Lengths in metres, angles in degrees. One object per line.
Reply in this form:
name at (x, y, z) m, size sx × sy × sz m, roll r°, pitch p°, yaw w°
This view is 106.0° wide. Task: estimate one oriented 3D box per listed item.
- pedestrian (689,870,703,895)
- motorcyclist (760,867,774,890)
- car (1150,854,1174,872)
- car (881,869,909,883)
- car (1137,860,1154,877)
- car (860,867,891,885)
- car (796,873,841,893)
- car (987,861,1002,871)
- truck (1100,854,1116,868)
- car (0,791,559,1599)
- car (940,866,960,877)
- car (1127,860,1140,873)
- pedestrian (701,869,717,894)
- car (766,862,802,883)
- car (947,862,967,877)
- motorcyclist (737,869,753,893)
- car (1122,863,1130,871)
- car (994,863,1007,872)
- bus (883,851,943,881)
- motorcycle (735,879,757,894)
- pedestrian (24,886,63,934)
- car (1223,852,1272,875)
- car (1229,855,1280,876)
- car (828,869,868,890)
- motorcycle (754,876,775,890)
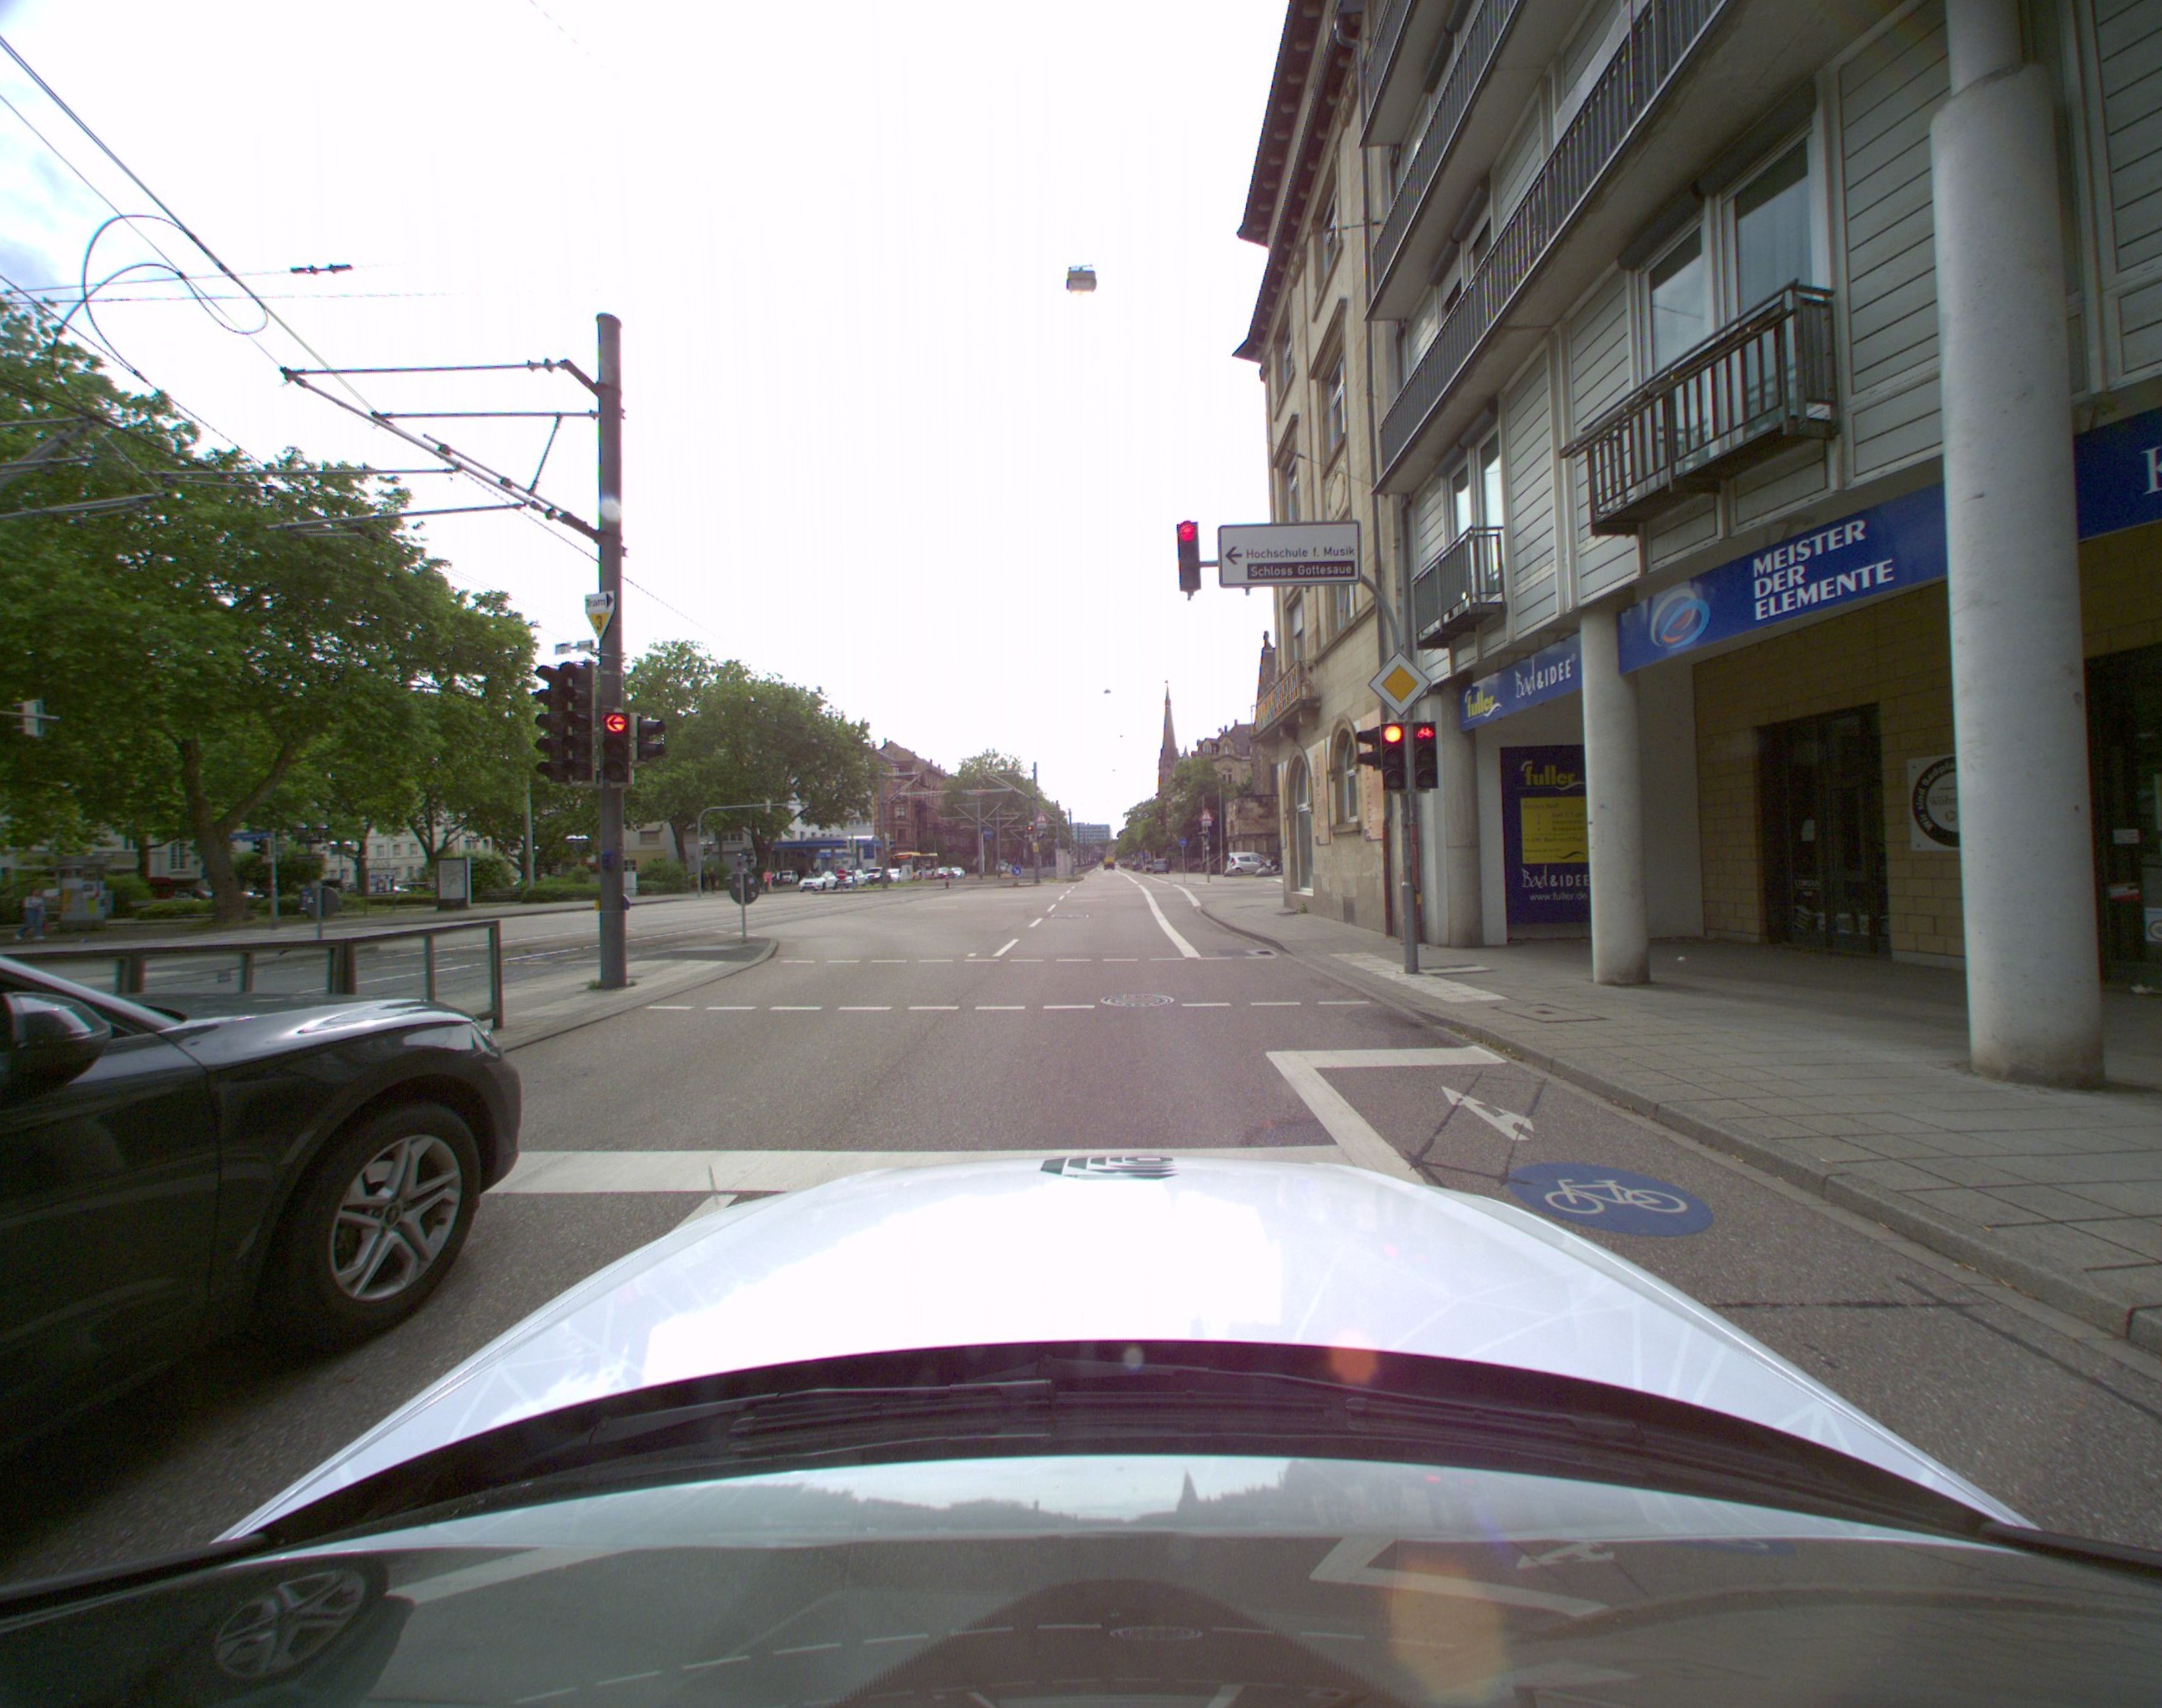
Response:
pedestrian at (-26.508, 1.949, 56.070) m, size 0.690 × 1.713 × 0.865 m, roll -1°, pitch -1°, yaw -17°
motorcyclist at (-21.603, 1.660, 56.052) m, size 0.617 × 1.520 × 0.874 m, roll -2°, pitch -1°, yaw 2°
car at (8.976, 0.995, 89.953) m, size 1.979 × 1.855 × 4.042 m, roll -1°, pitch -1°, yaw 14°
car at (-18.156, 2.110, 79.643) m, size 1.649 × 1.321 × 3.641 m, roll 0°, pitch -1°, yaw 3°
car at (7.884, 1.705, 99.453) m, size 1.985 × 2.014 × 4.004 m, roll 0°, pitch -1°, yaw 4°
car at (-18.328, 1.938, 72.722) m, size 1.649 × 1.478 × 3.641 m, roll 0°, pitch -1°, yaw 3°
car at (-19.163, 2.083, 59.558) m, size 1.739 × 1.321 × 4.079 m, roll 0°, pitch -1°, yaw 4°
car at (-15.047, 2.079, 142.094) m, size 1.986 × 1.610 × 4.001 m, roll 0°, pitch -1°, yaw 2°
truck at (5.948, 1.557, 178.202) m, size 3.042 × 2.769 × 9.825 m, roll -2°, pitch 0°, yaw 4°
car at (-3.071, 0.692, 1.231) m, size 1.727 × 1.637 × 4.228 m, roll 0°, pitch -1°, yaw 2°
car at (-16.514, 2.202, 102.789) m, size 1.649 × 1.321 × 3.641 m, roll 0°, pitch -1°, yaw 3°
car at (8.693, 2.066, 135.980) m, size 1.986 × 2.014 × 4.001 m, roll 0°, pitch -1°, yaw 2°
pedestrian at (-25.760, 1.898, 56.403) m, size 0.875 × 1.713 × 0.869 m, roll -1°, pitch -1°, yaw -17°
car at (-29.792, 1.815, 81.784) m, size 1.986 × 2.014 × 4.001 m, roll -2°, pitch -1°, yaw 2°
car at (-16.746, 2.074, 110.191) m, size 1.986 × 2.014 × 4.001 m, roll 0°, pitch -1°, yaw 2°
motorcyclist at (-22.686, 1.815, 54.993) m, size 0.617 × 1.520 × 0.874 m, roll -2°, pitch -1°, yaw 2°
car at (11.921, 3.394, 216.788) m, size 1.986 × 2.014 × 4.001 m, roll 0°, pitch -1°, yaw 2°
car at (-14.787, 2.462, 149.903) m, size 1.986 × 1.610 × 4.001 m, roll 0°, pitch -1°, yaw 2°
bus at (-18.297, 1.310, 89.720) m, size 3.217 × 3.035 × 12.323 m, roll 0°, pitch 0°, yaw 4°
motorcycle at (-22.671, 2.185, 55.161) m, size 0.604 × 0.928 × 1.953 m, roll -2°, pitch -1°, yaw 2°
pedestrian at (-33.444, 1.788, 26.255) m, size 0.674 × 1.510 × 0.661 m, roll -2°, pitch -1°, yaw 28°
car at (13.928, 0.793, 68.239) m, size 3.699 × 1.855 × 2.001 m, roll 0°, pitch -1°, yaw 2°
car at (13.748, 0.910, 64.715) m, size 3.699 × 1.563 × 2.001 m, roll 0°, pitch -1°, yaw 2°
car at (-18.843, 2.064, 66.079) m, size 1.986 × 1.594 × 4.001 m, roll 0°, pitch -1°, yaw 2°
motorcycle at (-21.643, 1.964, 55.717) m, size 0.604 × 0.928 × 1.953 m, roll -2°, pitch -1°, yaw 2°
